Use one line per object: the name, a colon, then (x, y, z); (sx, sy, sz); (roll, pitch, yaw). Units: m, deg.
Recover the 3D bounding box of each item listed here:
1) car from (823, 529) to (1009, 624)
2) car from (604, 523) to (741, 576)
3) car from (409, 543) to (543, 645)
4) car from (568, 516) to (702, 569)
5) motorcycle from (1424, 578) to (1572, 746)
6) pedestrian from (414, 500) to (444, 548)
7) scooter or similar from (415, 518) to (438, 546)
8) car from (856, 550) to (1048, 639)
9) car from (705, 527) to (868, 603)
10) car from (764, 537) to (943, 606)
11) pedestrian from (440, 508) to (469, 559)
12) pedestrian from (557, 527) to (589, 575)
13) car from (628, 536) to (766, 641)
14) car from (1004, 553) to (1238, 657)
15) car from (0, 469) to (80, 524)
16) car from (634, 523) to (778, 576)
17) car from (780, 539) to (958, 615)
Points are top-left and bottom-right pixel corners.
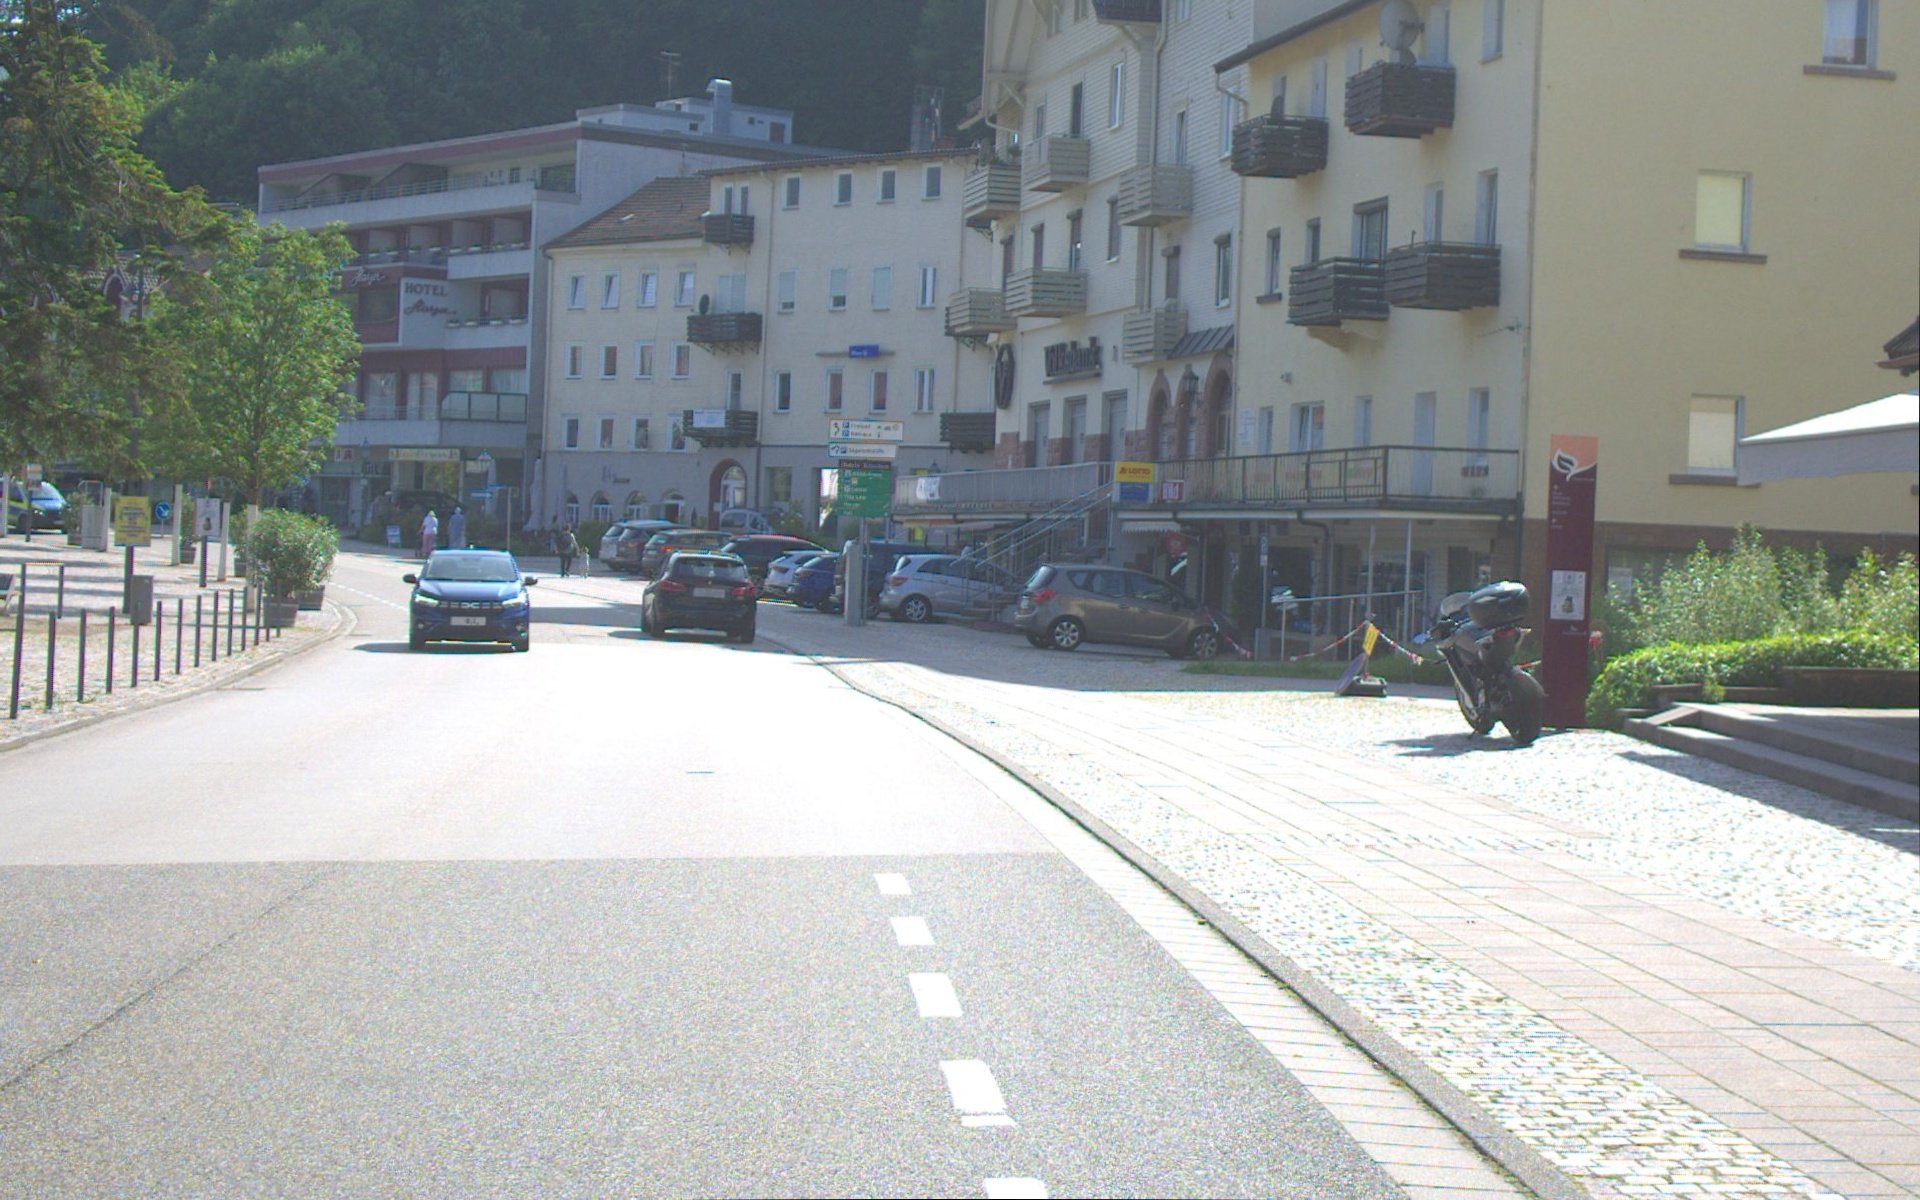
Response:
car: (-1.032, -0.550, 79.356); (3.908, 1.798, 1.858); (5, 0, -10)
car: (-9.033, -1.609, 108.062); (3.861, 1.544, 1.773); (-1, 4, -31)
car: (-7.225, -0.127, 51.614); (1.741, 1.457, 4.188); (0, 1, -5)
car: (-10.434, -1.855, 110.348); (3.861, 1.607, 1.773); (-1, 4, -31)
motorcycle: (4.372, 0.476, 28.080); (0.697, 1.292, 2.212); (0, 1, -4)
pedestrian: (-18.484, -2.648, 119.752); (0.757, 1.588, 0.628); (3, 1, -33)
scooter or similar: (-18.596, -2.361, 119.912); (0.596, 0.947, 0.474); (3, 1, -33)
car: (-0.192, -0.129, 76.682); (3.908, 1.583, 1.775); (5, 1, -10)
car: (-4.719, -0.949, 93.106); (4.083, 1.660, 1.773); (5, 1, -10)
car: (-2.761, -0.727, 88.508); (4.355, 1.456, 1.773); (4, -1, -8)
pedestrian: (-17.694, -2.326, 120.282); (0.669, 1.722, 0.707); (3, 1, -33)
pedestrian: (-11.736, -1.480, 104.299); (0.735, 1.437, 0.633); (0, 2, -37)
car: (-4.677, -0.226, 60.740); (1.726, 1.569, 3.754); (3, 2, -14)
car: (2.942, 0.091, 63.110); (3.858, 1.549, 1.761); (5, 1, -13)
car: (-34.484, -3.811, 126.101); (5.014, 1.946, 1.856); (2, 1, 44)
car: (-7.775, -1.554, 105.336); (4.009, 1.511, 1.773); (-1, 4, -31)
car: (-2.178, -0.552, 81.958); (3.908, 1.456, 1.736); (5, 1, -10)
